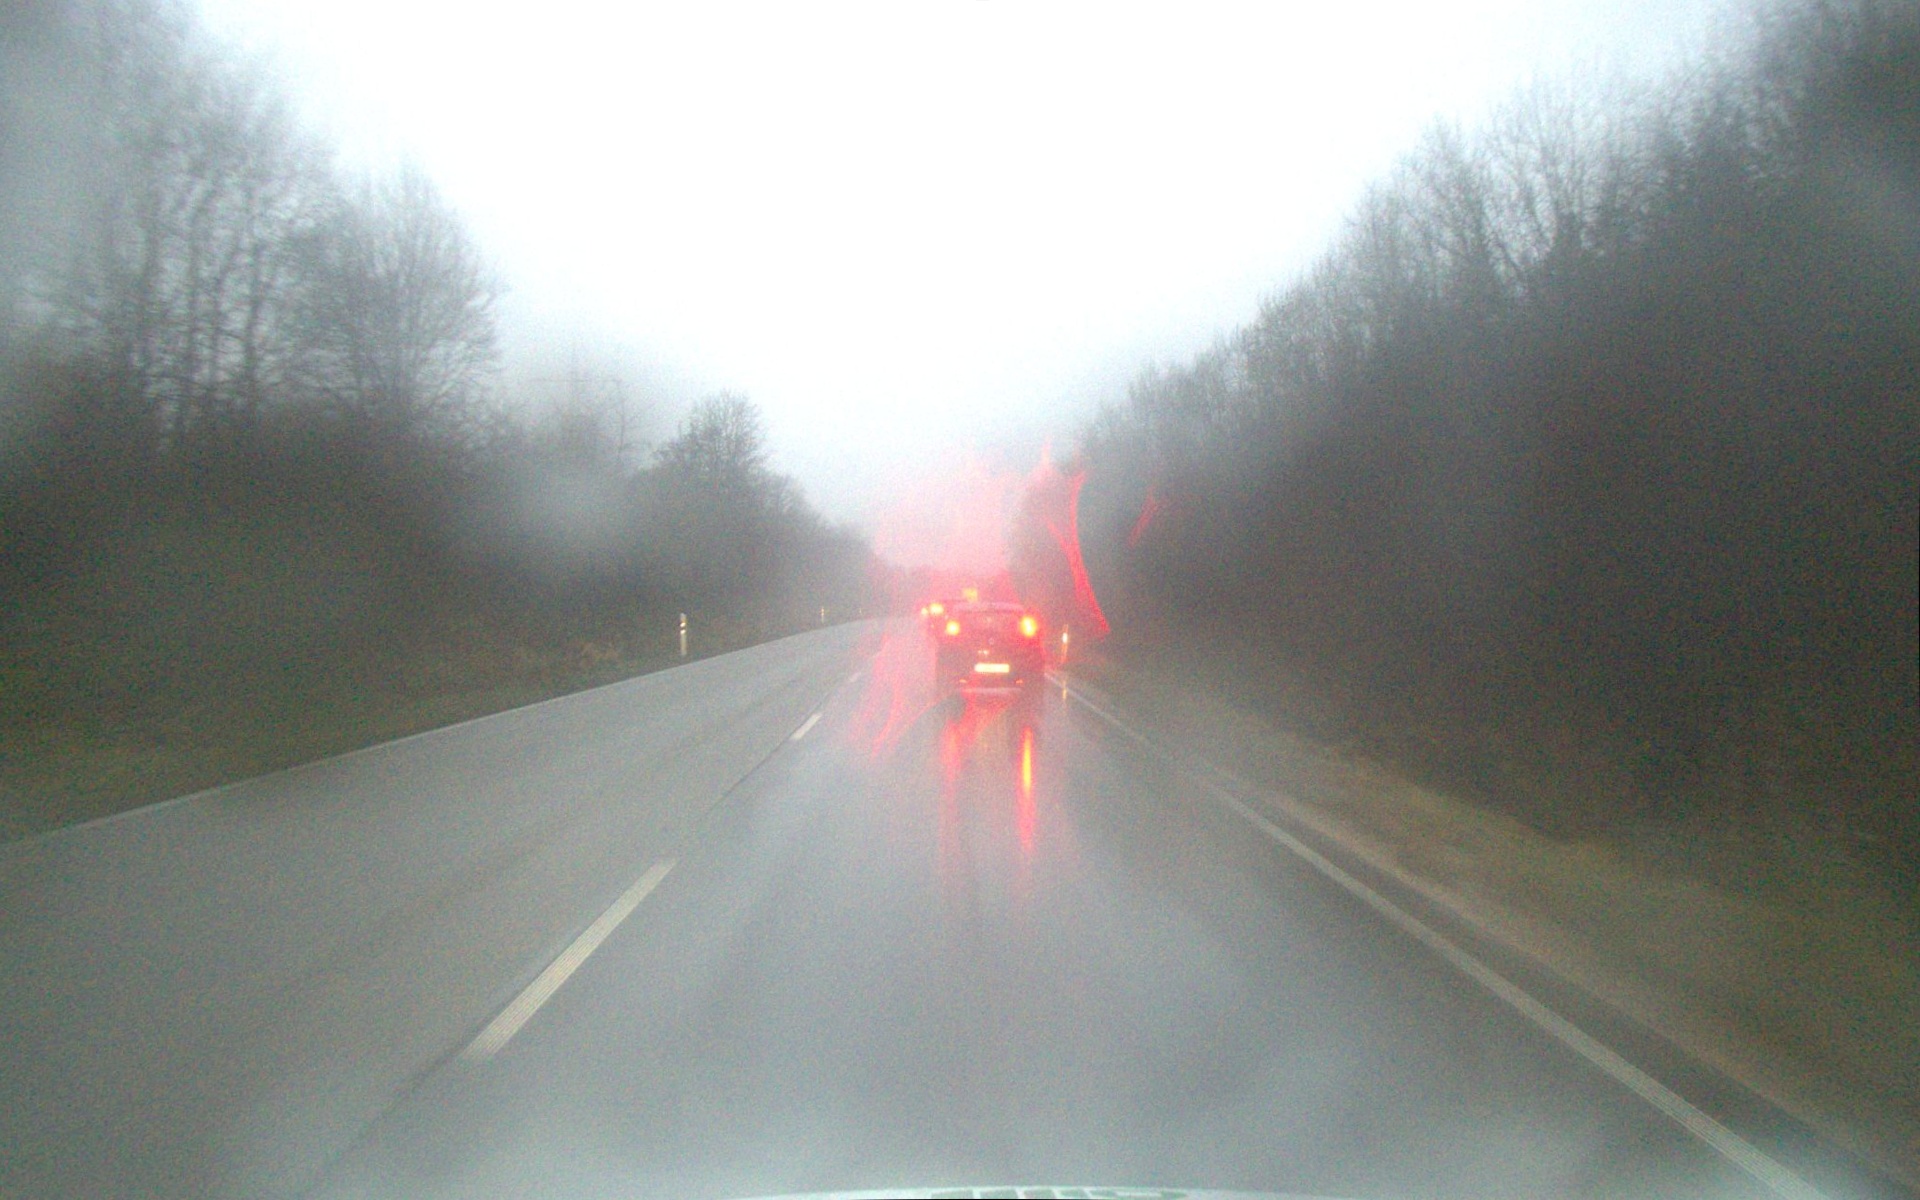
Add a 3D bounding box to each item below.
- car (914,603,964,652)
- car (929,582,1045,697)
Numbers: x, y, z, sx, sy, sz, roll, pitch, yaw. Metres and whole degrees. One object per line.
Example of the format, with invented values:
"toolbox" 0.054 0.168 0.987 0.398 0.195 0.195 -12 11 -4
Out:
"car" -0.739 0.985 59.822 1.692 1.672 4.000 1 0 0
"car" 0.417 0.592 26.385 1.692 1.672 4.000 1 0 0
